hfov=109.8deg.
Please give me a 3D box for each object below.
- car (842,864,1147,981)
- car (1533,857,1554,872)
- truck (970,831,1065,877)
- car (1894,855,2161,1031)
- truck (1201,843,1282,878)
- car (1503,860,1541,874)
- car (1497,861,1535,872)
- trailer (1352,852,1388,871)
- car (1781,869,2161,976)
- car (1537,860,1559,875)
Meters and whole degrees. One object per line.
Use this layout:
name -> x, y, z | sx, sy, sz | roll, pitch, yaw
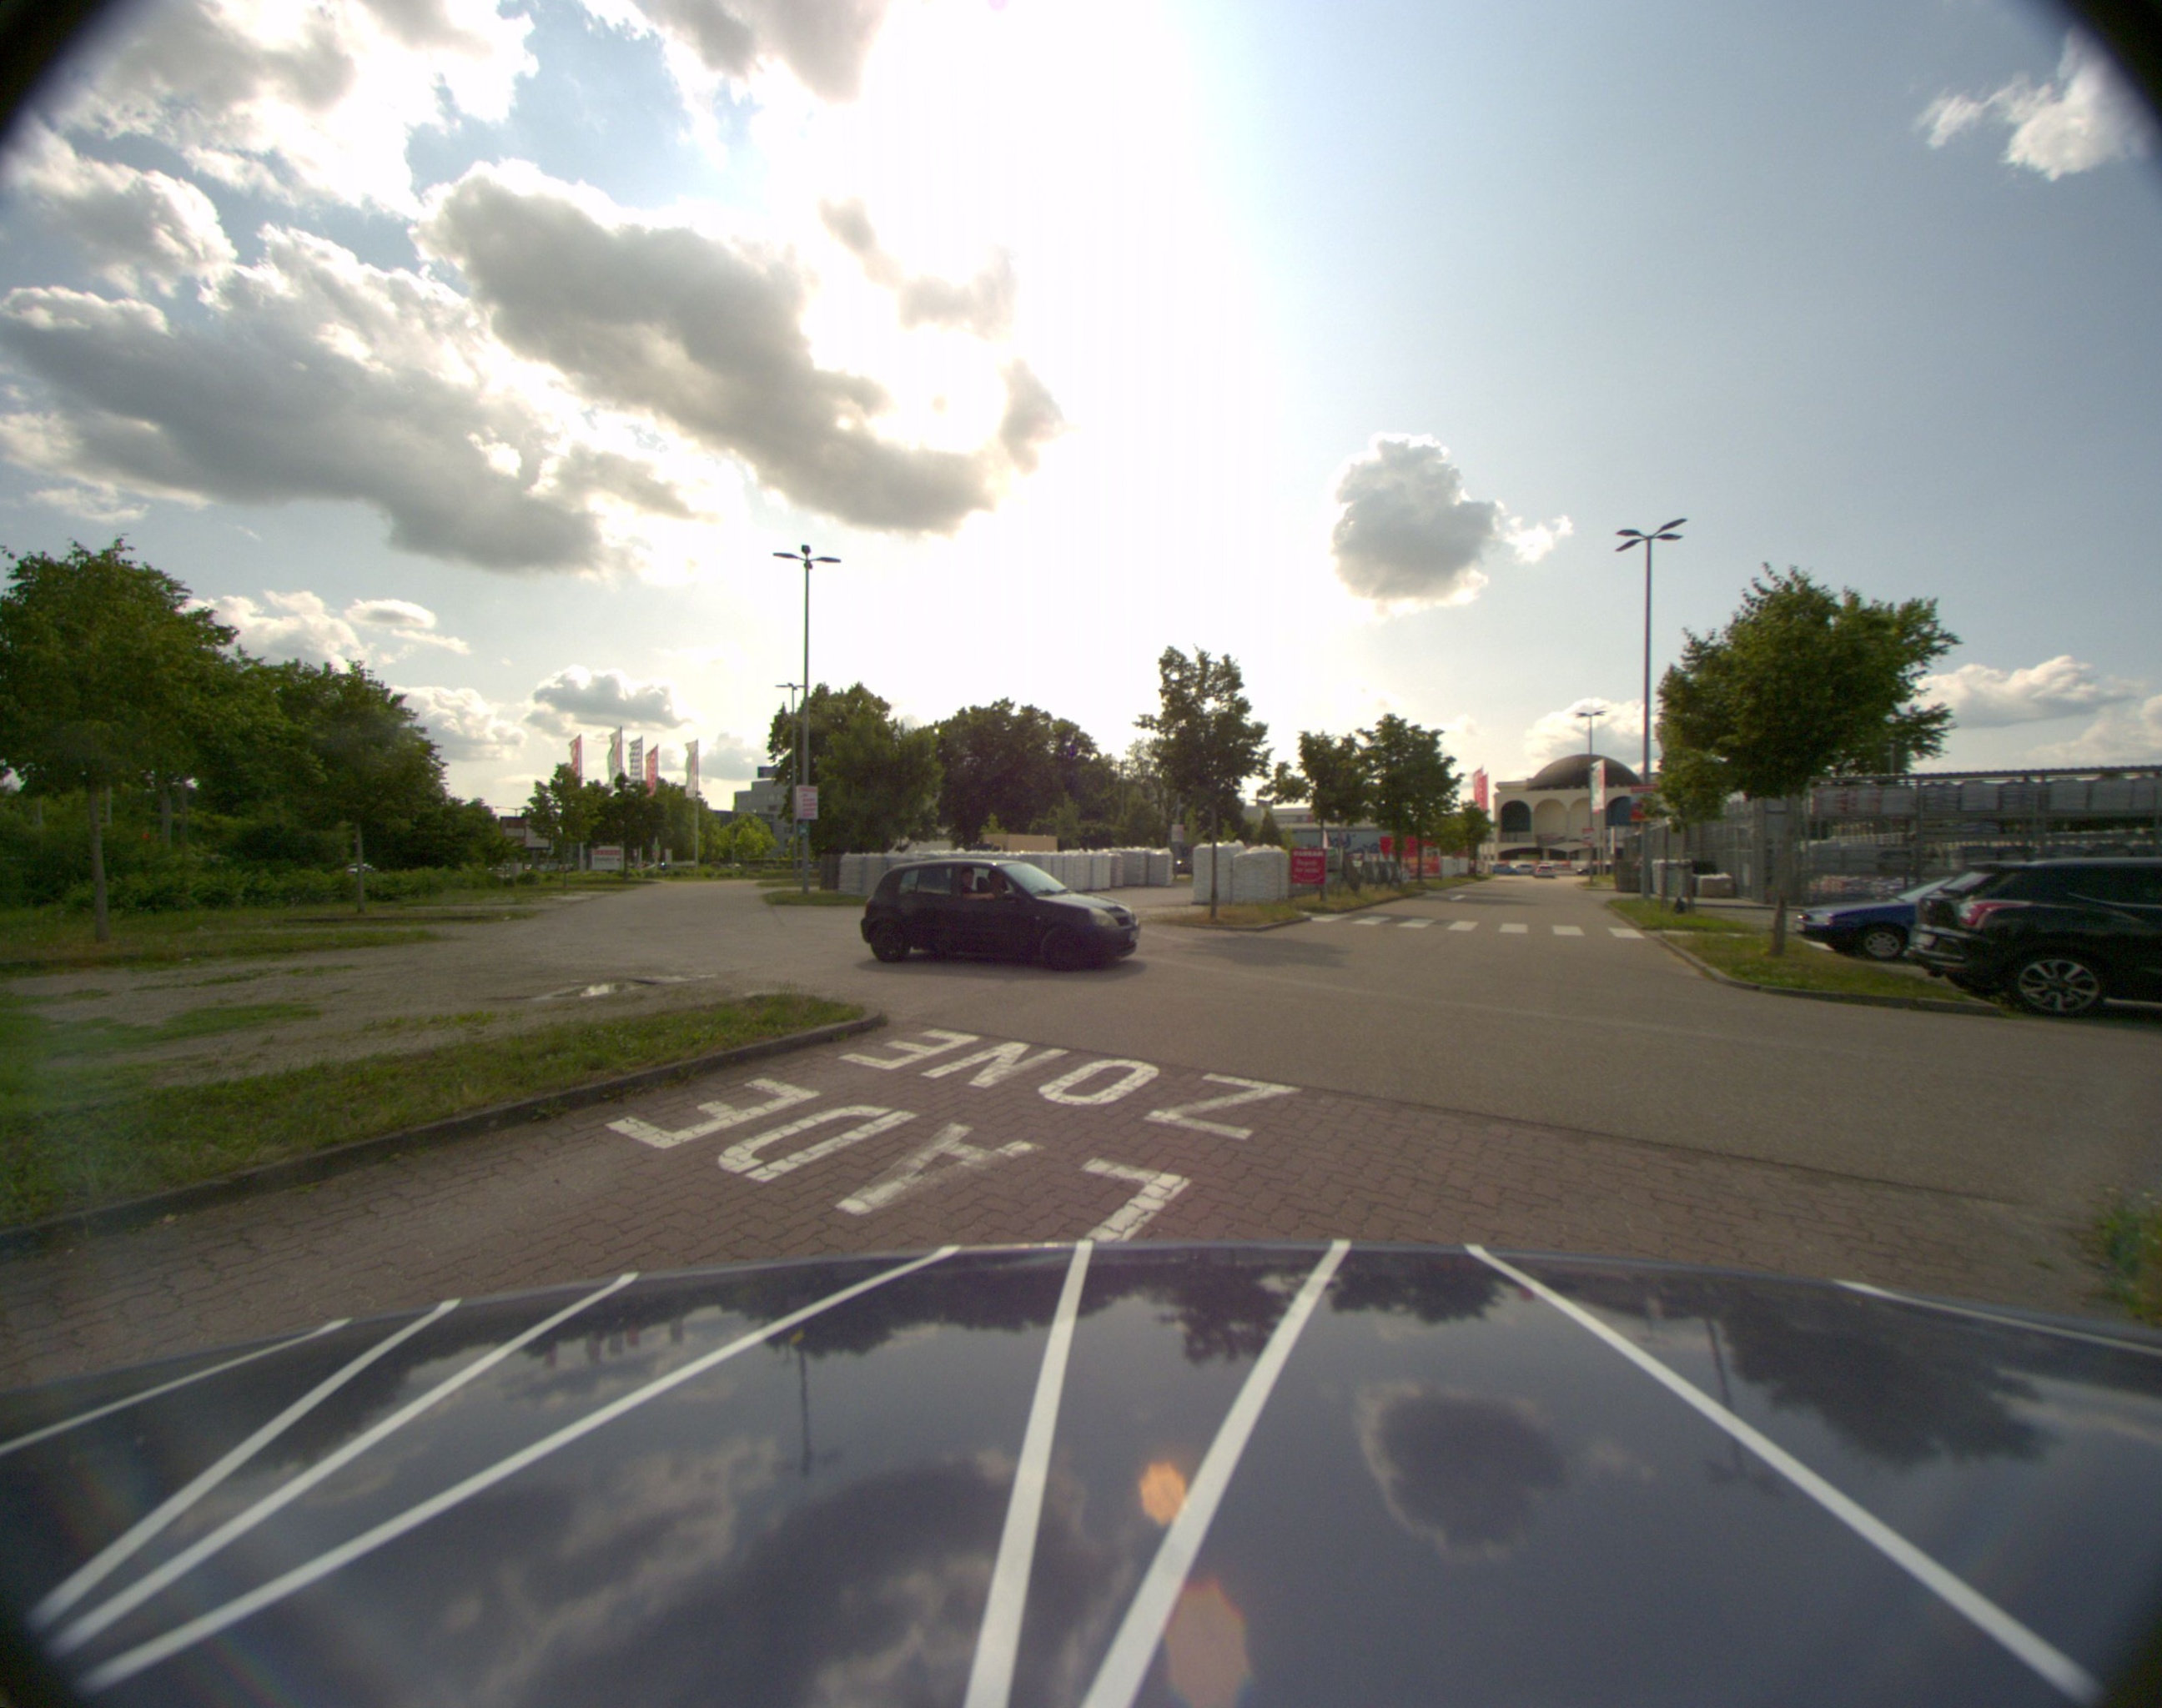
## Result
car -> -1.151, 0.822, 10.303 | 3.778, 1.313, 1.614 | 0, 0, 20
car -> 52.046, 1.237, 85.571 | 1.916, 1.608, 4.383 | 1, 0, 31
truck -> -5.098, 0.014, 63.017 | 2.722, 3.577, 9.056 | 1, 0, 33
car -> 11.003, 0.828, 7.364 | 3.952, 1.615, 1.739 | 0, 0, 34
truck -> 11.755, 0.460, 55.700 | 5.430, 2.500, 2.121 | 1, 0, 29
car -> 55.547, 1.645, 95.813 | 3.988, 1.615, 1.782 | 1, 4, 35
car -> 56.599, 1.607, 98.816 | 4.181, 1.500, 1.795 | 0, 0, 33
trailer -> 39.061, 0.988, 102.778 | 4.265, 2.405, 1.772 | 1, 3, 32
car -> 13.575, 0.954, 11.783 | 3.752, 1.360, 1.624 | 0, 0, 32
car -> 48.871, 1.392, 79.473 | 1.804, 1.456, 4.338 | 1, 0, 34
